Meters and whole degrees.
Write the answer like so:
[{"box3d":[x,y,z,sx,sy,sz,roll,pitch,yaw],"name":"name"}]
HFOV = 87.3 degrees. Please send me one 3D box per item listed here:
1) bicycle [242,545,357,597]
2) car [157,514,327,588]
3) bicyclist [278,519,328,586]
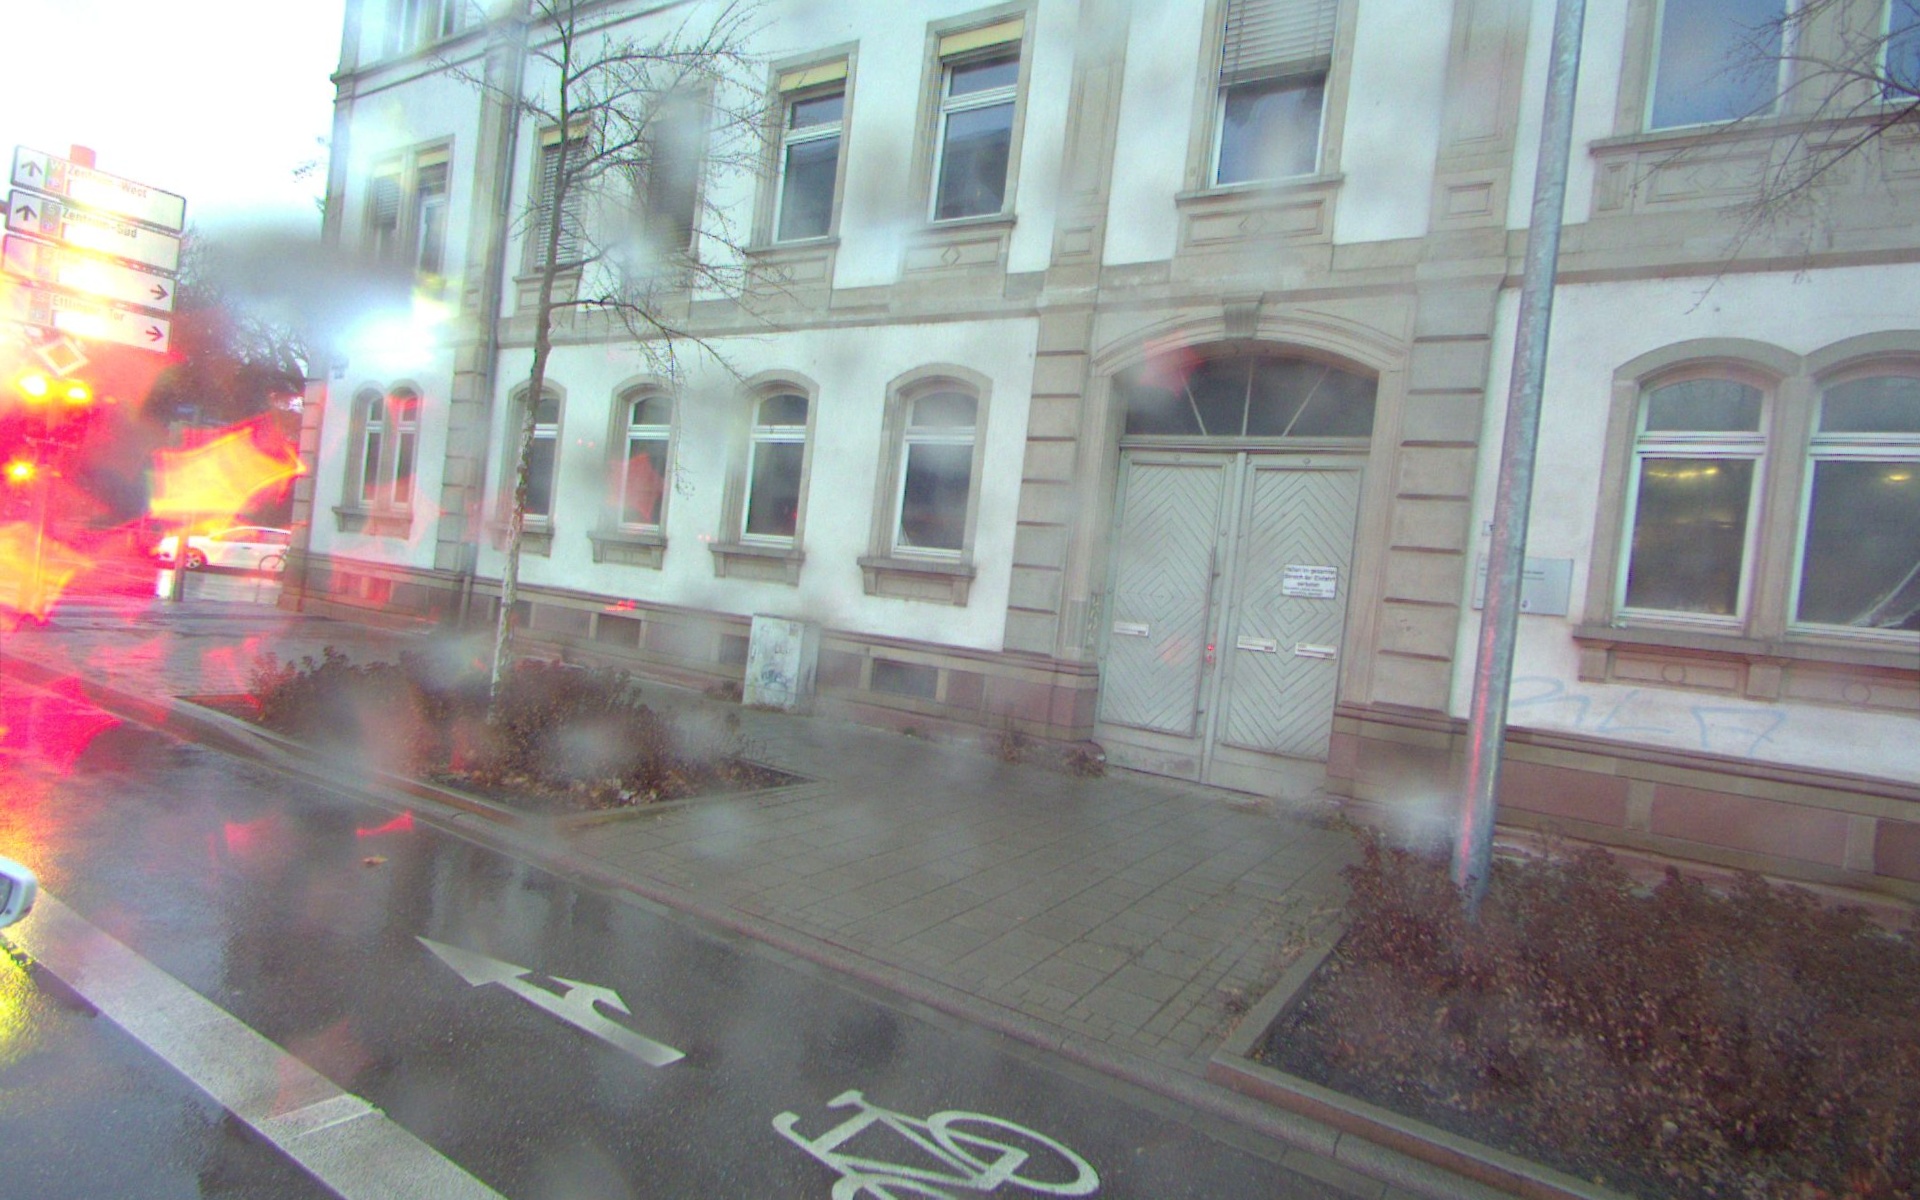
[{"box3d":[-19.238,-0.824,29.339,2.657,1.101,0.806,9,-3,-40],"name":"bicycle"},{"box3d":[-21.580,-1.437,30.369,3.935,1.571,1.733,9,-3,-36],"name":"car"},{"box3d":[-19.177,-1.371,29.355,0.968,1.778,0.805,8,-2,-39],"name":"bicyclist"}]
